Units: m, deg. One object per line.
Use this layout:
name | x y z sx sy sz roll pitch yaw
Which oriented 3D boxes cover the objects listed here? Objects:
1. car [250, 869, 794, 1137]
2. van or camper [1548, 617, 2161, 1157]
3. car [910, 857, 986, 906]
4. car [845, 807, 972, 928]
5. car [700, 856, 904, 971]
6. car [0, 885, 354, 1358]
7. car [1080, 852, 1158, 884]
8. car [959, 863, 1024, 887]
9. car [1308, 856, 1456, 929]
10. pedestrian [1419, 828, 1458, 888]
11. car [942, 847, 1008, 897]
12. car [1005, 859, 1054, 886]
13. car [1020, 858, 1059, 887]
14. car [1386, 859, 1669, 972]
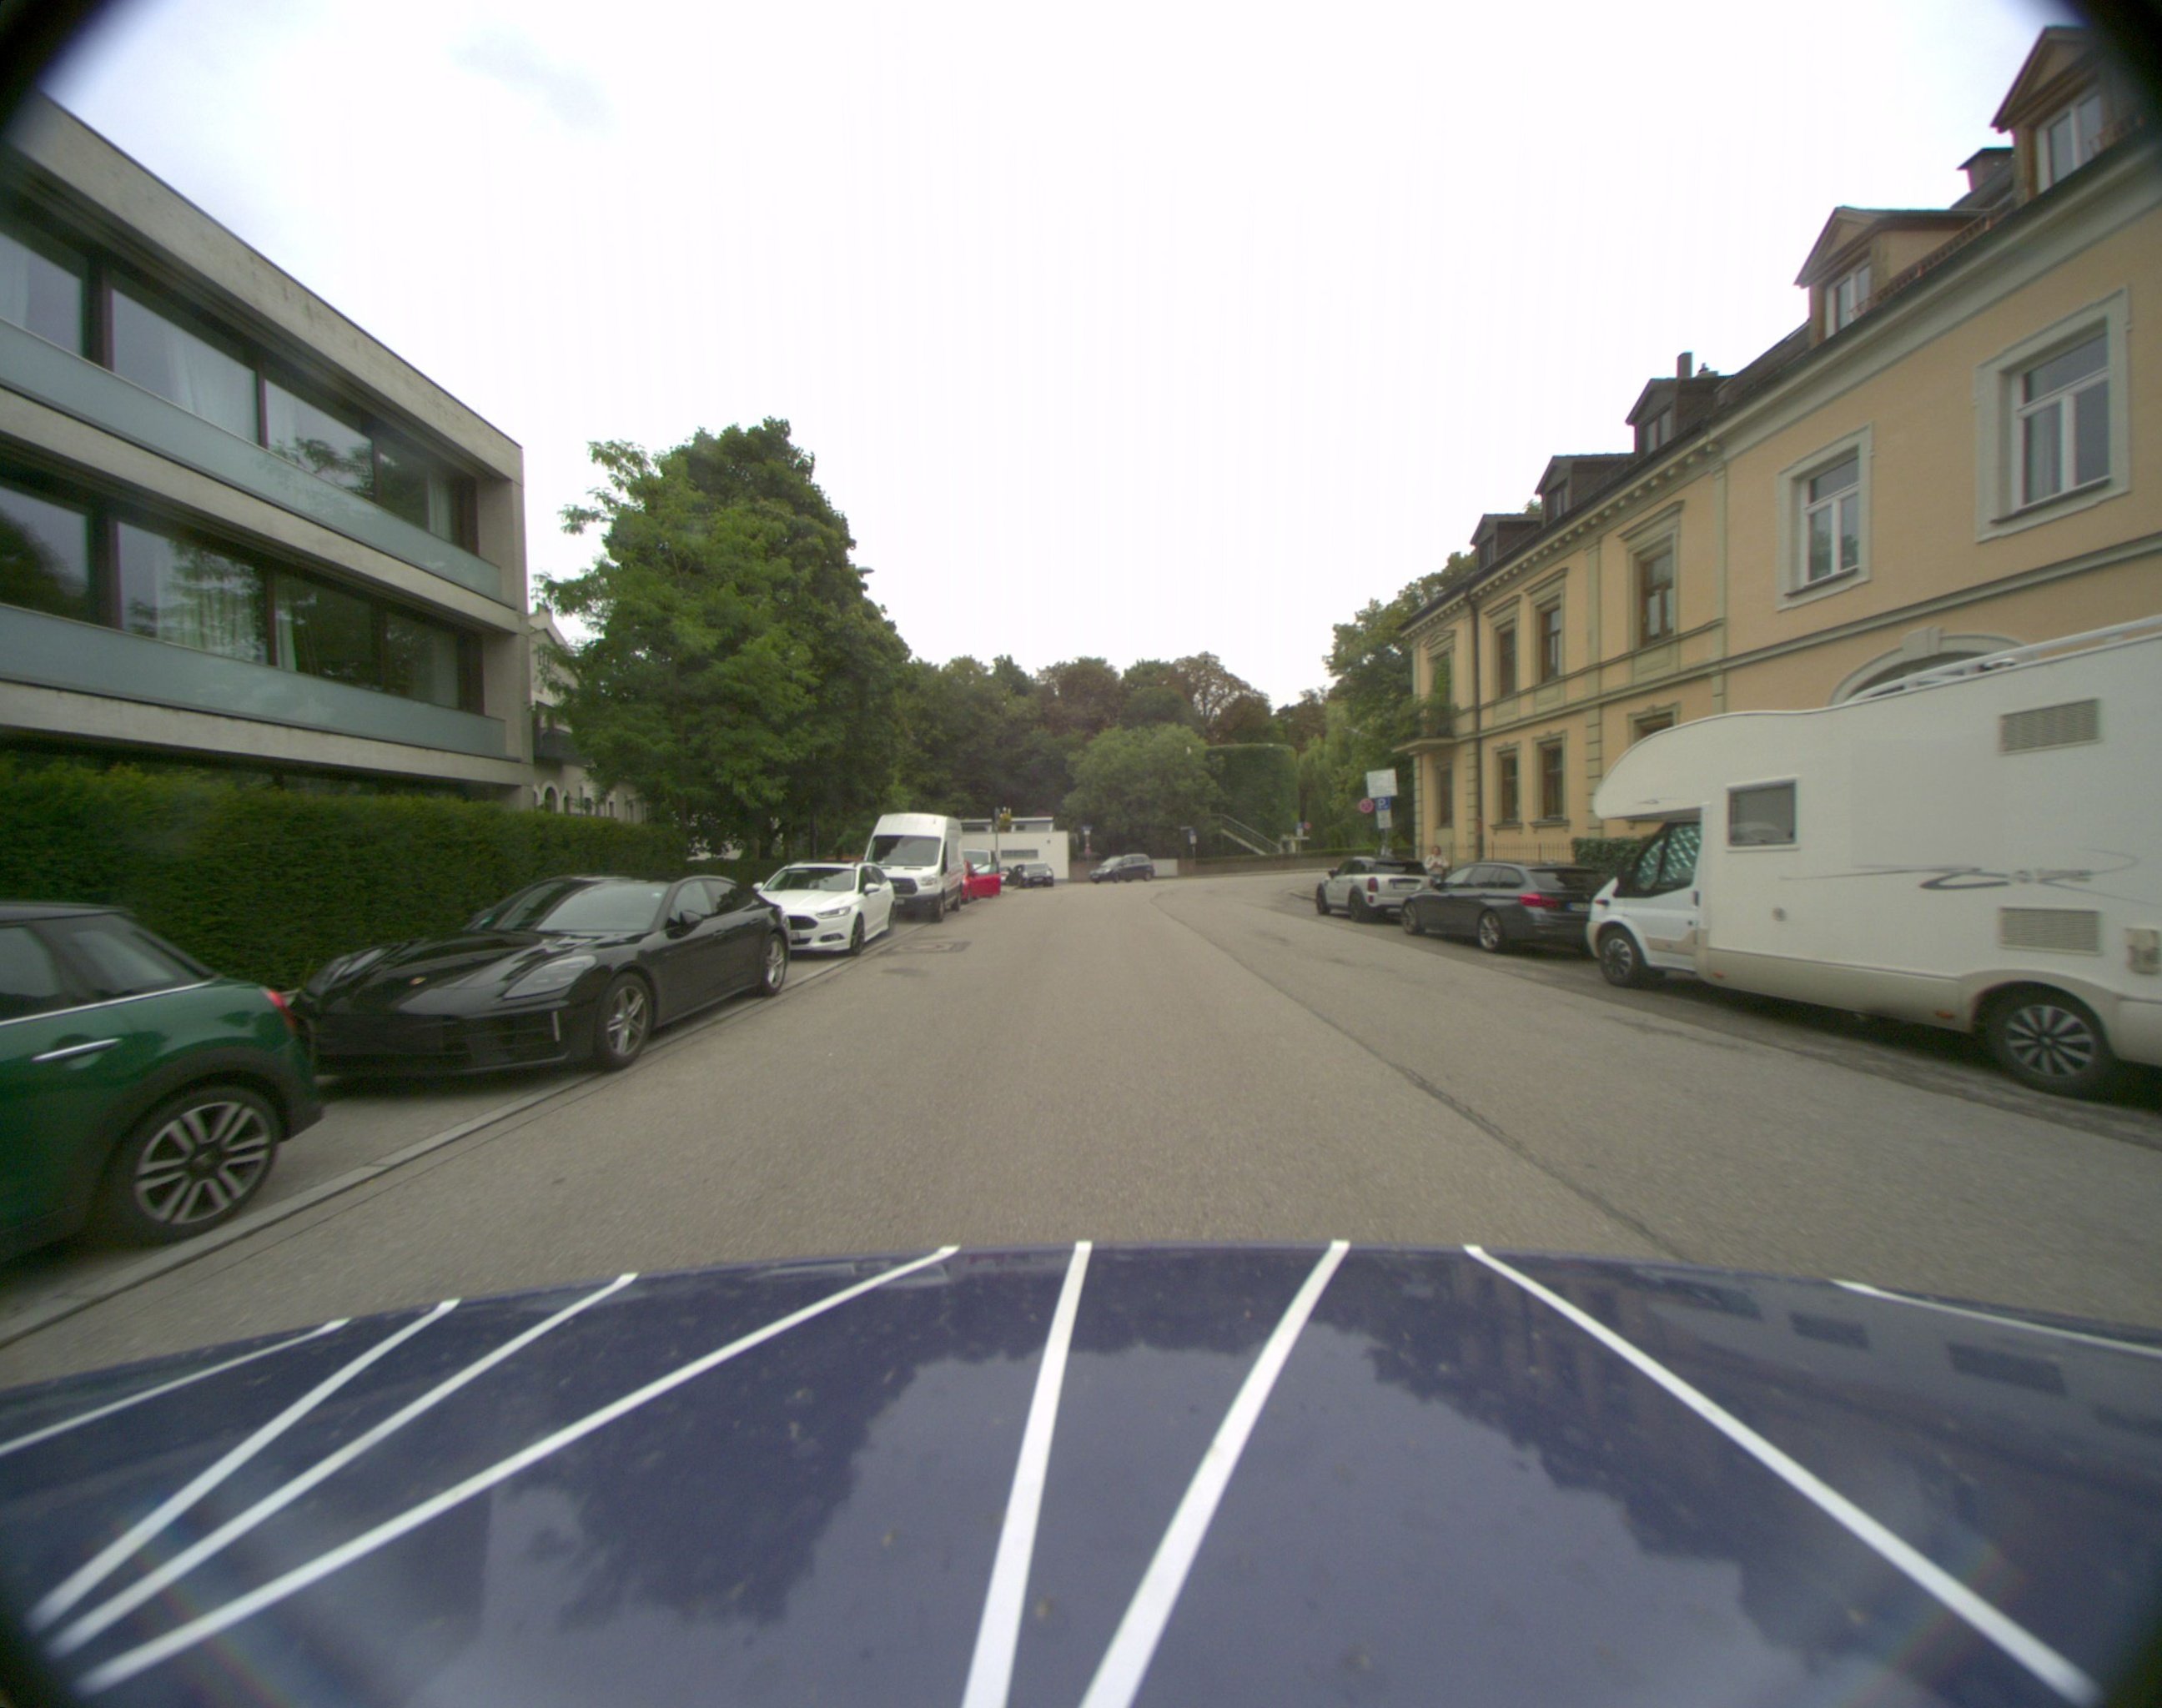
car | -4.325 0.946 7.142 1.284 1.497 5.207 1 0 0
van or camper | 7.126 0.180 6.038 2.461 2.923 7.211 1 0 1
car | -4.472 0.871 26.282 1.876 1.498 4.837 1 0 -2
car | -4.293 0.319 20.050 2.085 2.670 6.087 1 0 -2
car | -4.426 0.849 12.990 1.876 1.560 5.000 1 0 -3
car | -4.489 0.927 1.693 1.731 1.520 4.204 1 0 0
car | 2.232 0.831 44.472 4.344 1.682 1.995 1 -5 -42
car | -6.004 1.407 51.017 4.004 1.437 1.946 -3 -3 34
car | 7.315 0.862 19.014 1.940 1.526 4.531 1 0 1
pedestrian | 9.666 0.106 20.583 0.655 1.594 0.739 -2 1 -1
car | -4.288 0.696 31.515 1.939 1.893 5.072 1 0 1
car | -3.227 1.180 47.024 1.899 1.438 4.009 -3 -1 -21
car | -2.382 1.020 42.676 1.897 1.438 4.267 -3 -1 -7
car | 7.277 0.890 13.142 1.941 1.499 4.821 1 0 -1
